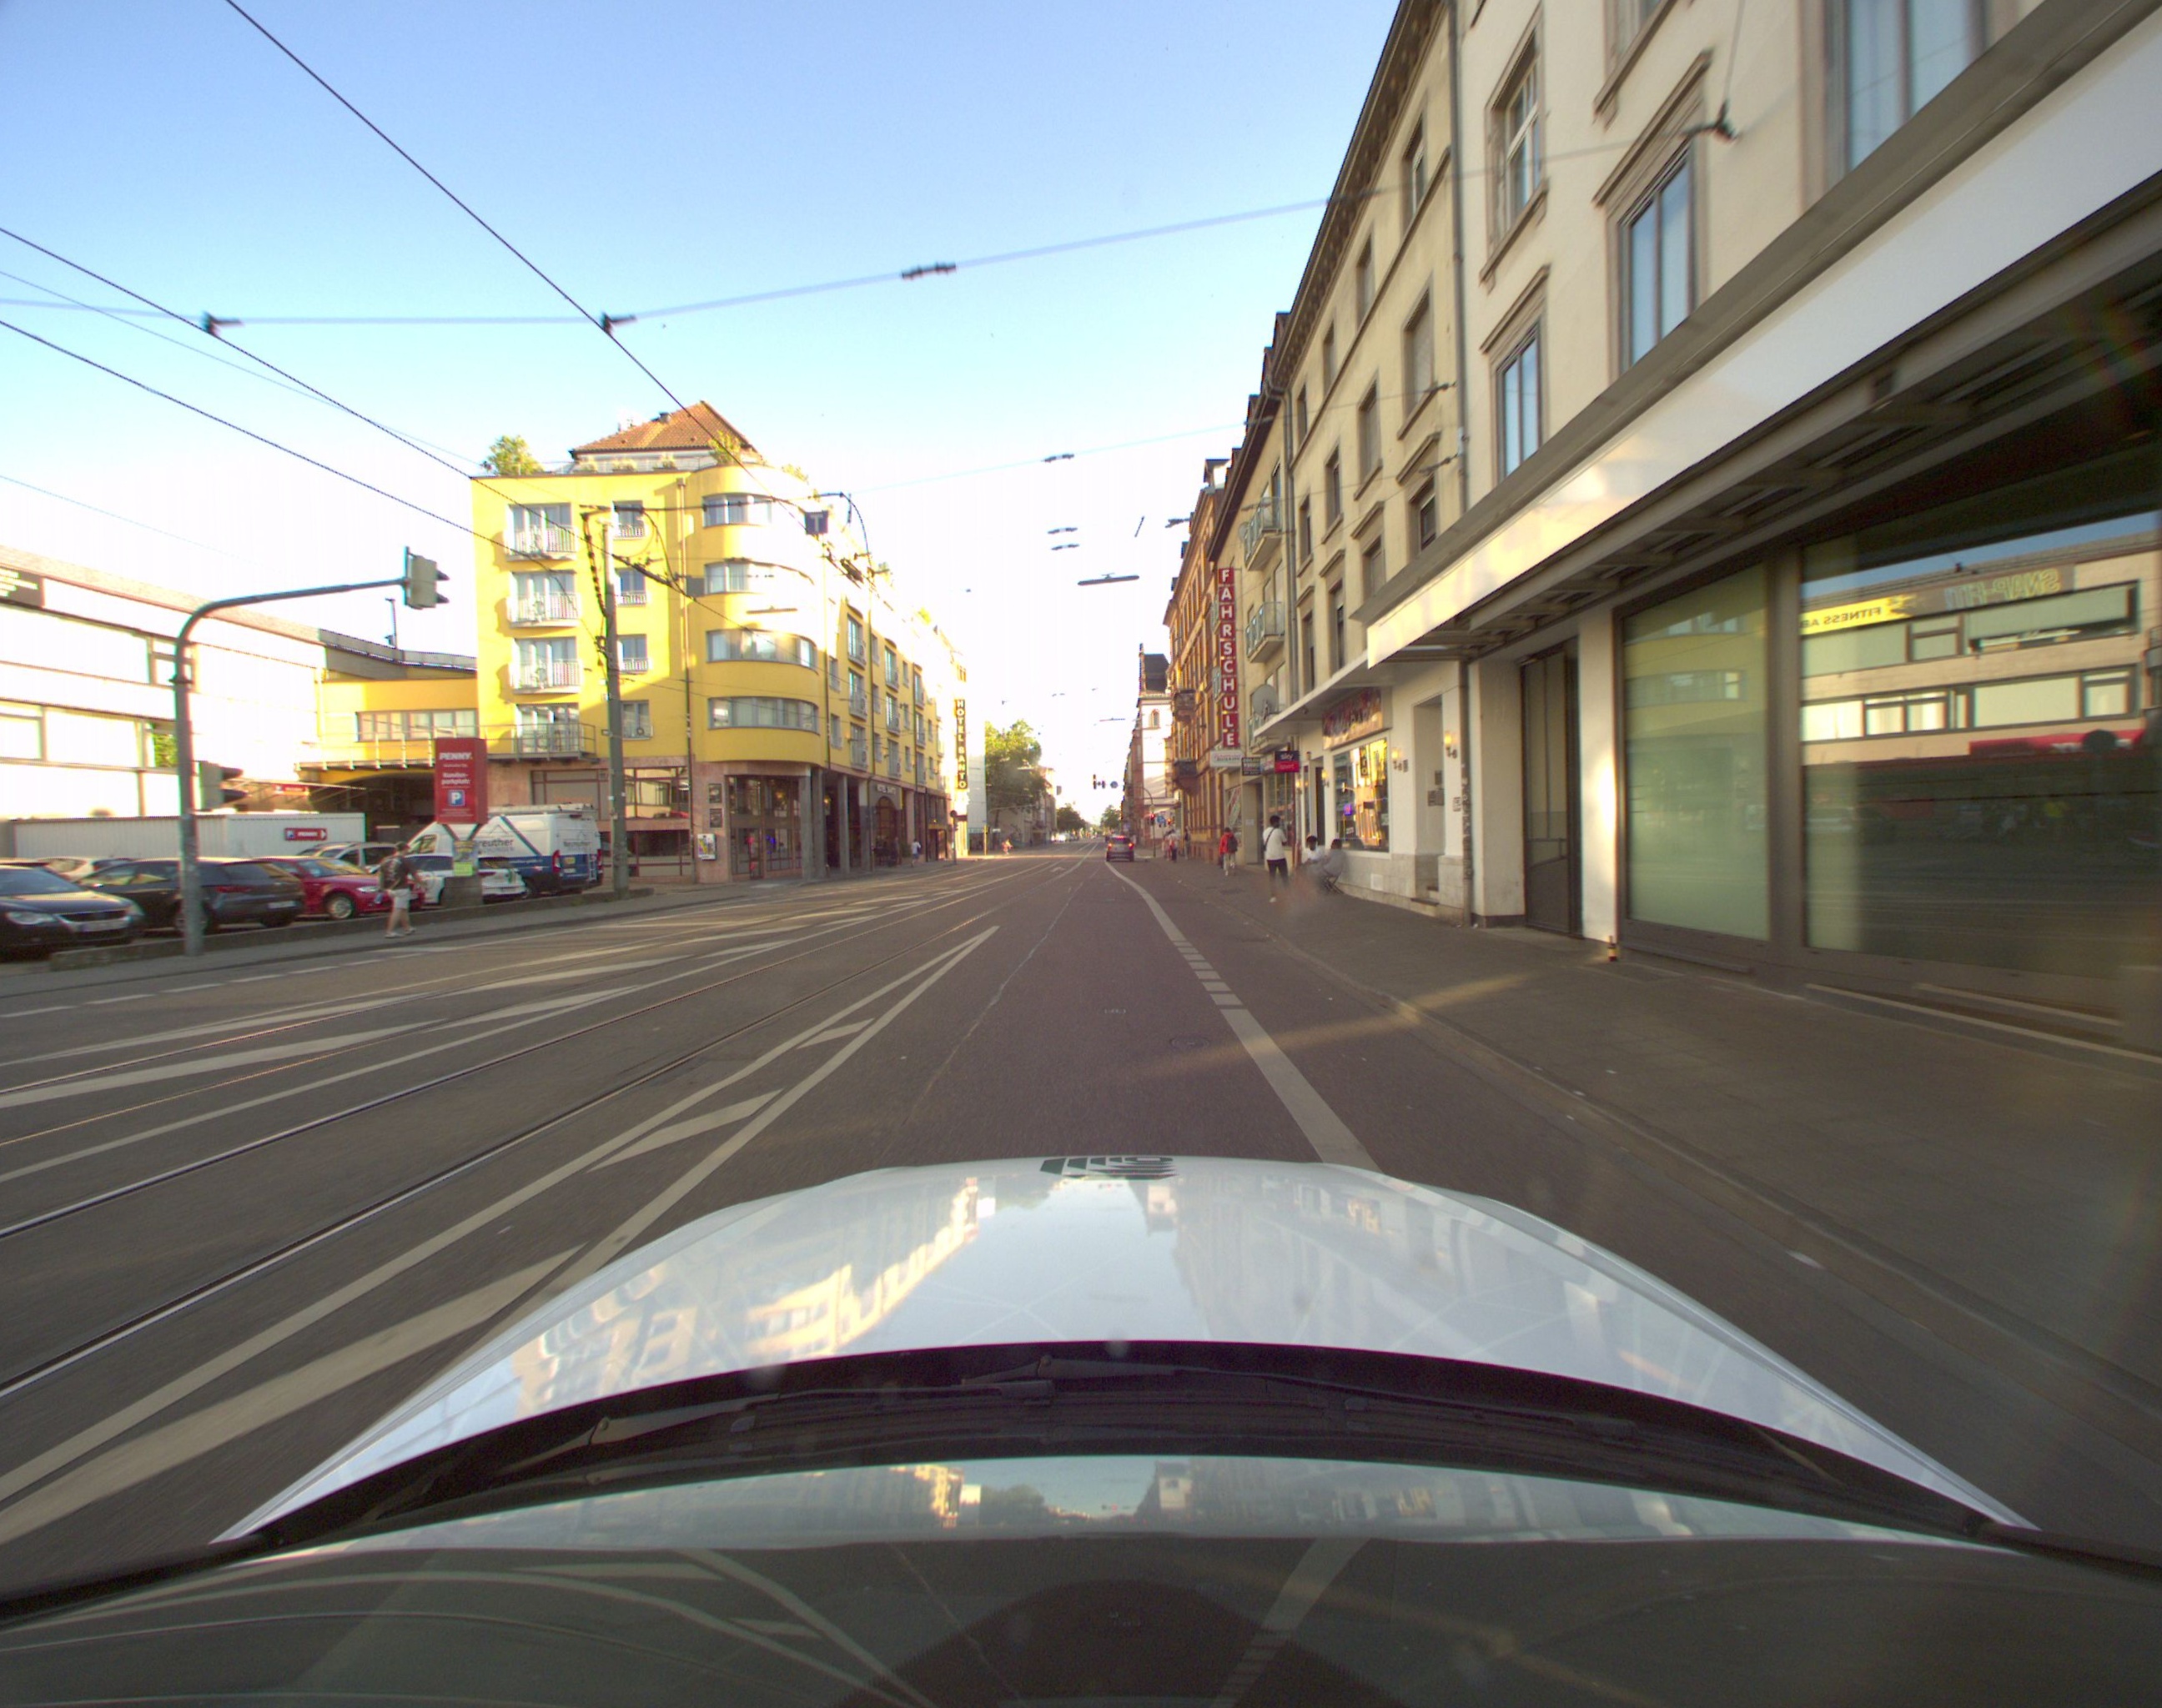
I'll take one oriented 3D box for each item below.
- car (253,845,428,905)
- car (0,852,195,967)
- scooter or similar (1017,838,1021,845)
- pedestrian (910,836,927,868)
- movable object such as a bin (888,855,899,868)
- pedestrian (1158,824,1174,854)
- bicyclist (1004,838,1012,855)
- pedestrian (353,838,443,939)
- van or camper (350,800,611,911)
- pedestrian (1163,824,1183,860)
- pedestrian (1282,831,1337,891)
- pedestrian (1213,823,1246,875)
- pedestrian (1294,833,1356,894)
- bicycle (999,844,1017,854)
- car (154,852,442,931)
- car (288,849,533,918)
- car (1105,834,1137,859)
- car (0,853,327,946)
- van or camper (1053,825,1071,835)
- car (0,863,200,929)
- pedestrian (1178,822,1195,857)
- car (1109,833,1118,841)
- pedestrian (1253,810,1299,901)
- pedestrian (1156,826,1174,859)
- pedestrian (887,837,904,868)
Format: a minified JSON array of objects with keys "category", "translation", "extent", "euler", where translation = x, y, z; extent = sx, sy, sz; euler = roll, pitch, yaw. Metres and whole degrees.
[{"category":"car","translation":[-24.653,0.643,27.344],"extent":[1.987,1.736,4.121],"euler":[-2,1,0]},{"category":"car","translation":[-17.379,0.869,12.782],"extent":[4.875,1.583,1.881],"euler":[-2,2,2]},{"category":"scooter or similar","translation":[-9.658,-1.918,127.190],"extent":[0.515,1.057,1.478],"euler":[-2,1,0]},{"category":"pedestrian","translation":[-9.851,-0.129,49.365],"extent":[0.749,1.818,1.046],"euler":[3,2,1]},{"category":"movable object such as a bin","translation":[-11.118,0.429,48.221],"extent":[0.381,0.716,0.842],"euler":[3,2,3]},{"category":"pedestrian","translation":[5.451,-0.953,52.083],"extent":[0.802,1.799,0.762],"euler":[-6,2,1]},{"category":"bicyclist","translation":[-7.193,-0.759,80.368],"extent":[0.739,1.634,0.607],"euler":[0,0,-6]},{"category":"pedestrian","translation":[-12.964,0.630,15.497],"extent":[0.830,1.832,0.910],"euler":[-2,2,1]},{"category":"van or camper","translation":[-16.933,0.022,23.201],"extent":[5.584,2.826,2.317],"euler":[-2,2,2]},{"category":"pedestrian","translation":[4.888,-0.648,43.256],"extent":[0.803,1.799,1.092],"euler":[-6,2,0]},{"category":"pedestrian","translation":[5.188,0.160,18.501],"extent":[0.834,1.255,0.699],"euler":[-8,2,-33]},{"category":"pedestrian","translation":[4.998,-0.180,27.453],"extent":[0.795,1.627,0.826],"euler":[-7,1,2]},{"category":"pedestrian","translation":[5.214,0.199,17.427],"extent":[0.707,1.174,1.010],"euler":[-8,2,-17]},{"category":"bicycle","translation":[-7.193,-0.477,80.304],"extent":[1.711,1.034,0.598],"euler":[0,0,-5]},{"category":"car","translation":[-17.298,0.786,18.148],"extent":[4.570,1.475,1.881],"euler":[-2,2,2]},{"category":"car","translation":[-16.802,0.714,20.566],"extent":[4.570,1.475,1.881],"euler":[-2,2,2]},{"category":"car","translation":[2.580,-0.518,53.125],"extent":[1.986,1.618,4.002],"euler":[0,1,1]},{"category":"car","translation":[-17.496,0.824,15.463],"extent":[4.570,1.475,1.881],"euler":[-2,2,2]},{"category":"van or camper","translation":[-5.311,-6.586,225.406],"extent":[4.663,2.563,1.981],"euler":[-1,1,-30]},{"category":"car","translation":[-28.694,1.184,23.615],"extent":[3.975,1.700,2.000],"euler":[-2,1,-1]},{"category":"pedestrian","translation":[6.021,-0.847,46.467],"extent":[0.688,1.908,0.670],"euler":[-6,2,0]},{"category":"car","translation":[7.040,-3.744,175.693],"extent":[1.942,1.683,4.004],"euler":[-2,1,3]},{"category":"pedestrian","translation":[4.135,0.020,17.266],"extent":[0.699,1.811,0.682],"euler":[-7,1,17]},{"category":"pedestrian","translation":[4.830,-0.658,46.913],"extent":[0.803,1.799,0.761],"euler":[-6,2,0]},{"category":"pedestrian","translation":[-11.165,-0.105,49.031],"extent":[0.795,1.770,0.750],"euler":[3,2,1]}]
